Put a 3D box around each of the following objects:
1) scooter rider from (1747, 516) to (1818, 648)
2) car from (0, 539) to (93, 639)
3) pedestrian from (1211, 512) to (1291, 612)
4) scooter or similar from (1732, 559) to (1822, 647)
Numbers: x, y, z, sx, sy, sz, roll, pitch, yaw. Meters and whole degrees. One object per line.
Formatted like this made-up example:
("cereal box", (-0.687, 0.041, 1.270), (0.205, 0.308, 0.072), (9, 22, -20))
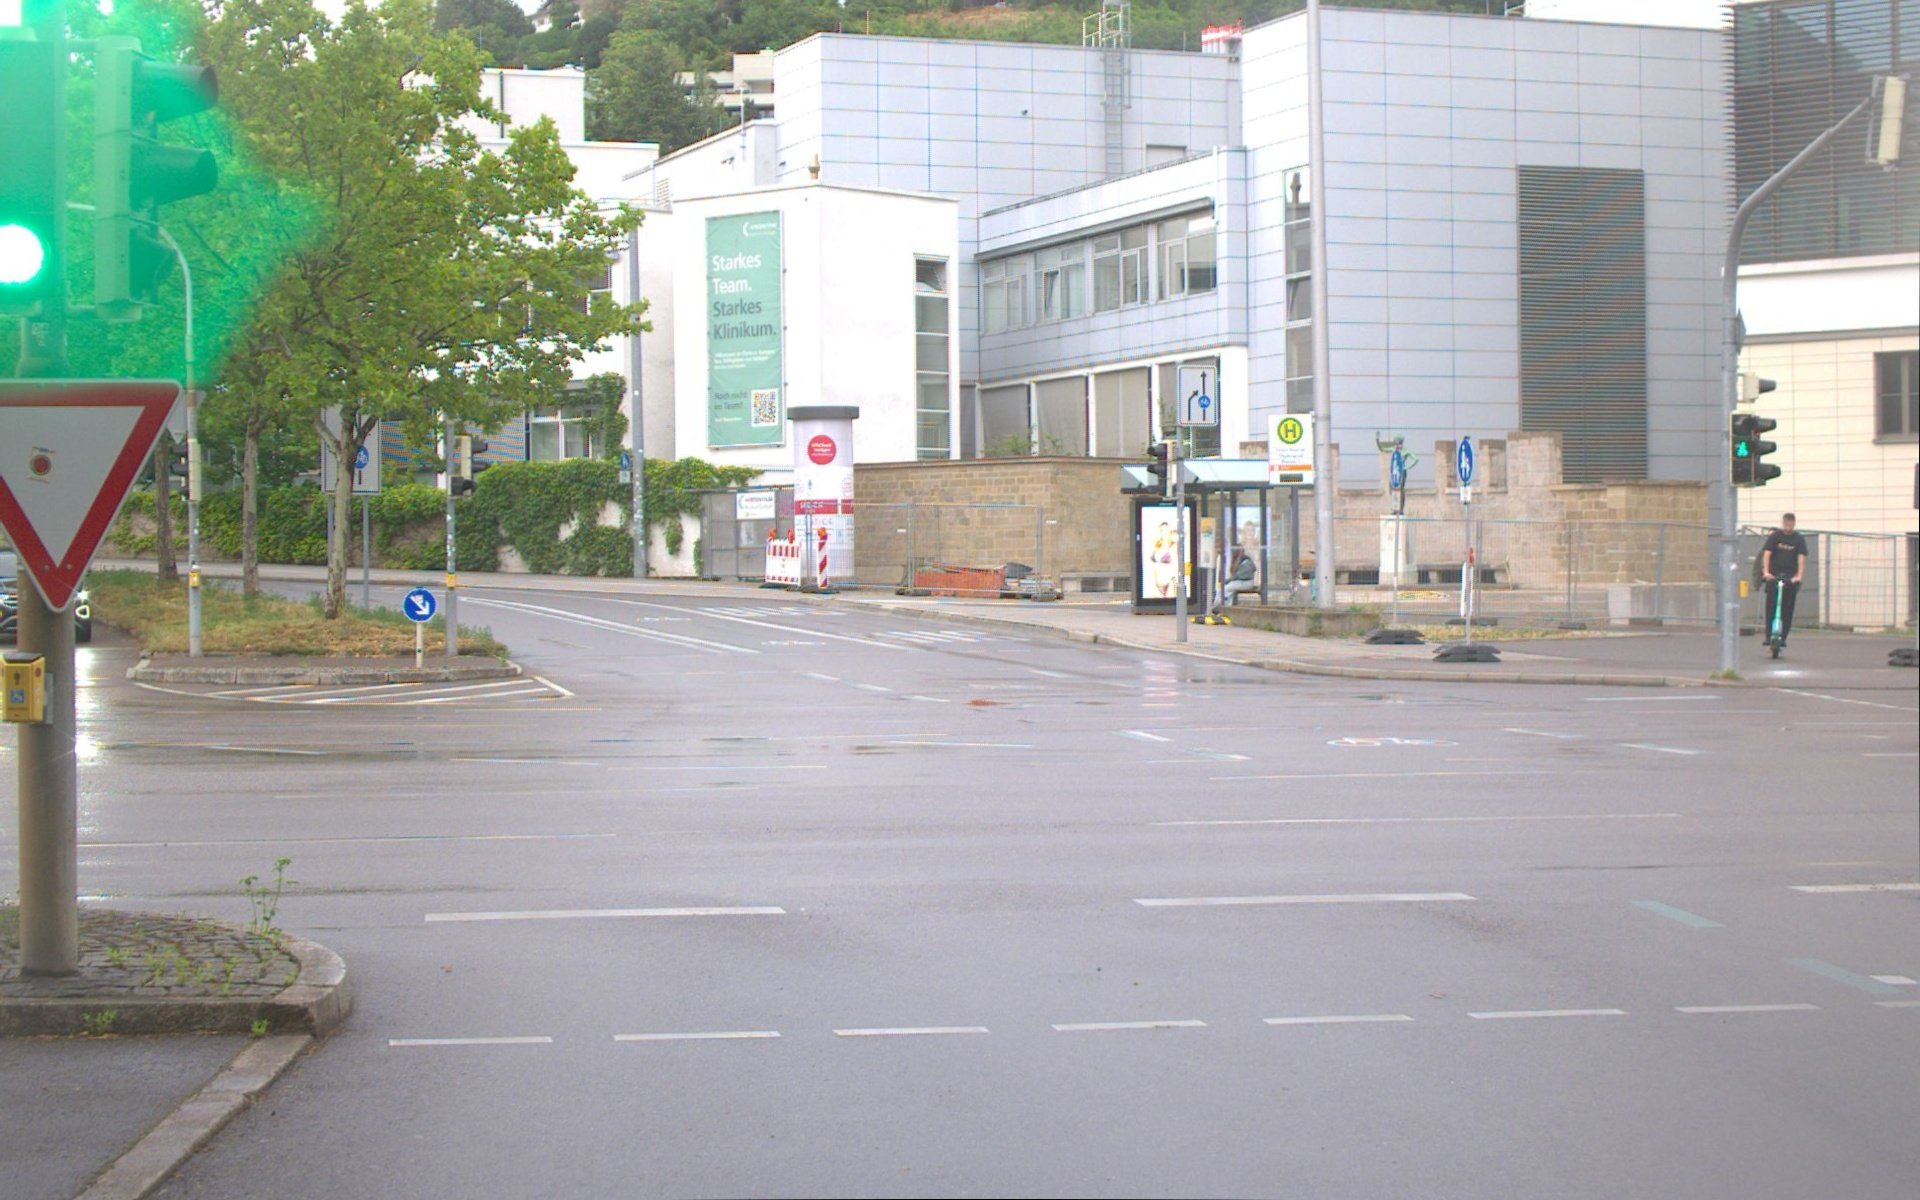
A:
("scooter rider", (11.831, -0.256, 49.467), (0.723, 1.877, 0.632), (2, -1, -20))
("car", (-15.587, -0.219, 57.054), (1.788, 1.579, 4.001), (-1, 1, -22))
("pedestrian", (5.132, -0.666, 60.717), (1.257, 1.713, 1.016), (1, -1, -2))
("scooter or similar", (11.751, 0.047, 49.473), (0.591, 1.234, 1.314), (2, -1, -22))
